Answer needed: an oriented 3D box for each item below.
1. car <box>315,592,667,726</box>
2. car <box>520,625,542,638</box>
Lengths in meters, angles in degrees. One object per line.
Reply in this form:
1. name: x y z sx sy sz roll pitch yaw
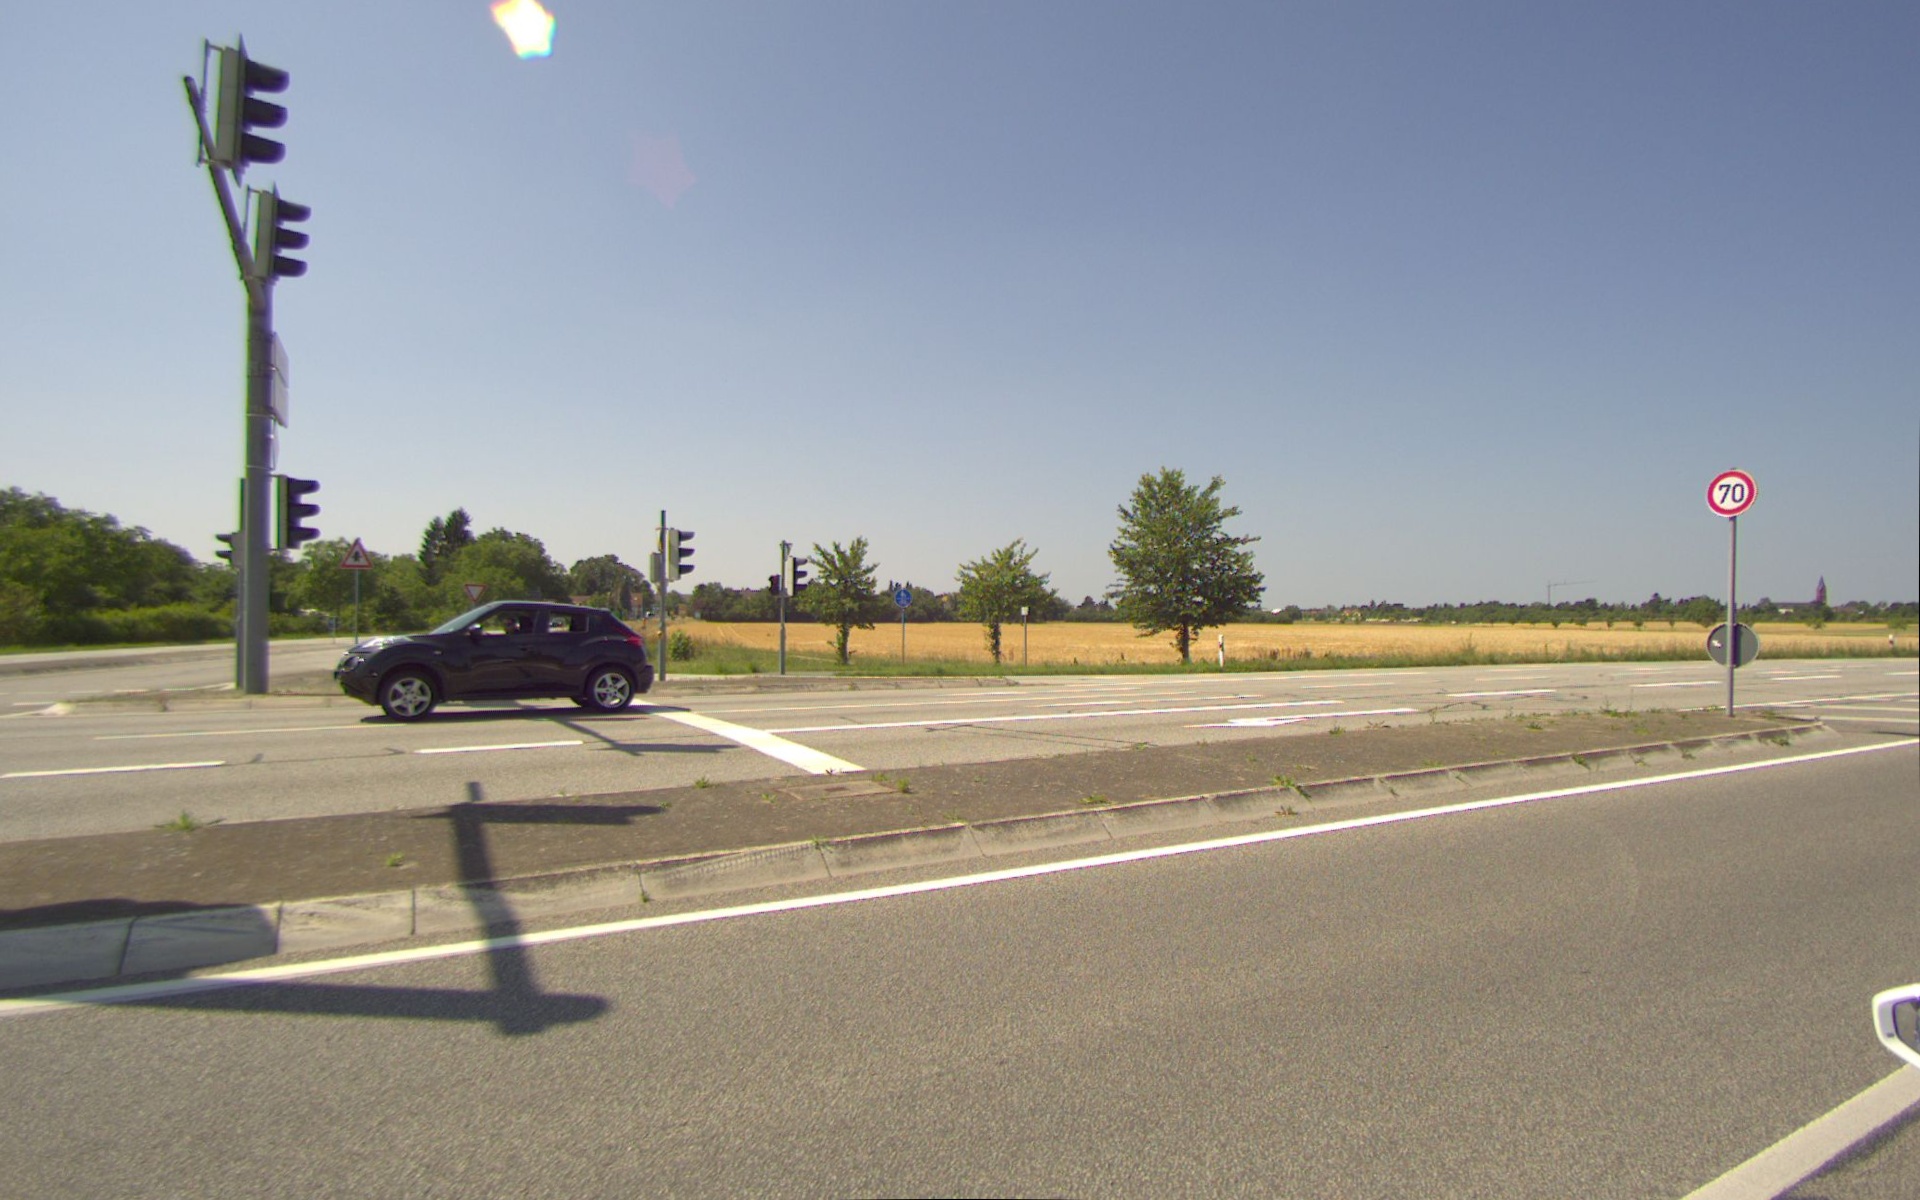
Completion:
1. car: -6.506 0.780 14.130 4.259 1.621 1.820 1 -2 -33
2. car: -47.588 3.493 111.495 1.474 1.405 3.766 0 -2 -12
